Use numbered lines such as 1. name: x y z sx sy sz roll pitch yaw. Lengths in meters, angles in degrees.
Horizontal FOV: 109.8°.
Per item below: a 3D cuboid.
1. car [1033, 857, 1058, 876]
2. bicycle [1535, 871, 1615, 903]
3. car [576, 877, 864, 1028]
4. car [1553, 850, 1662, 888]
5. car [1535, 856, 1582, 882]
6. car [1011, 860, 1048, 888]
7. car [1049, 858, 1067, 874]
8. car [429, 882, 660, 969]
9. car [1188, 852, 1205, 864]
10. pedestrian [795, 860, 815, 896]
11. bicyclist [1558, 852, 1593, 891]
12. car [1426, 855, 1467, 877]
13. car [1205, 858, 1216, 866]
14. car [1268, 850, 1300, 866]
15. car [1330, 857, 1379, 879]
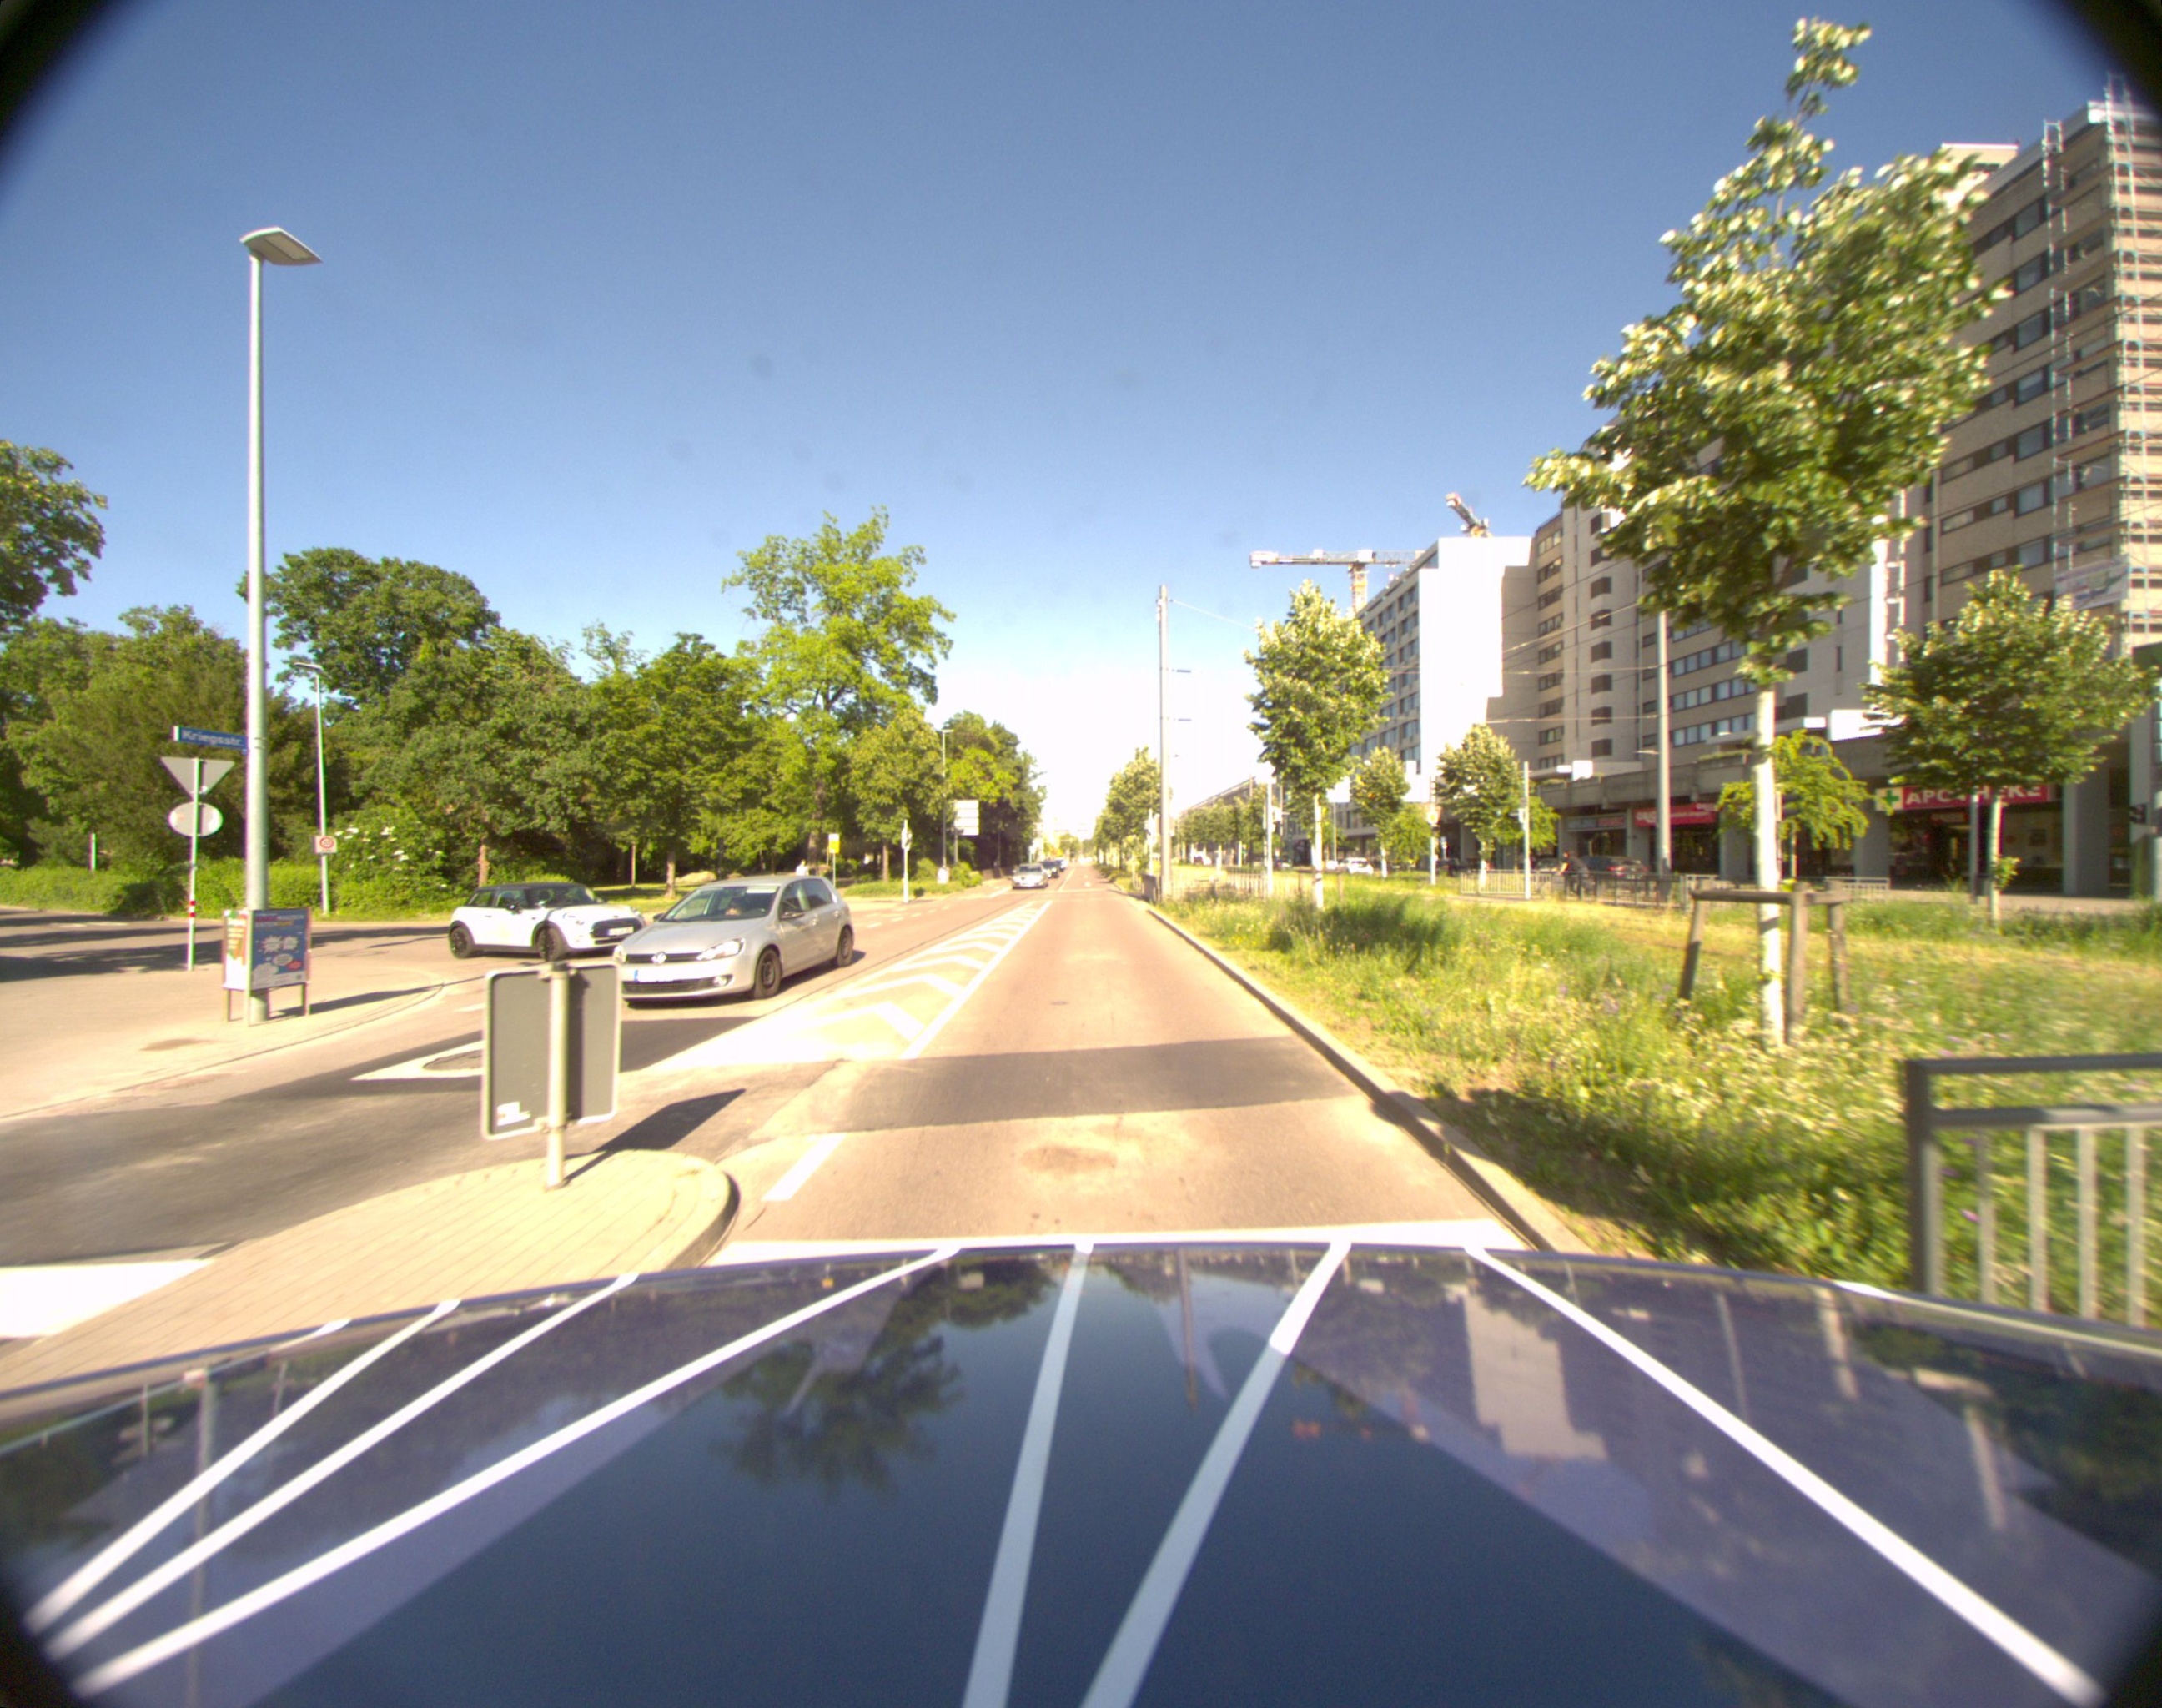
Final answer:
1. car: -2.925 1.041 63.352 1.999 1.493 3.999 0 0 -3
2. bicycle: 15.514 1.026 23.907 0.563 0.946 2.011 -2 1 -43
3. car: -4.486 1.133 10.211 1.702 1.465 4.001 -2 0 4
4. car: 23.696 0.634 34.410 1.999 1.569 4.105 2 0 -2
5. car: 30.559 0.918 48.566 1.712 1.511 4.008 -1 0 44
6. car: -2.921 1.125 43.557 1.839 1.415 3.999 -2 0 -1
7. car: -2.667 1.389 90.420 1.998 1.718 4.000 -2 0 0
8. car: -10.248 1.314 14.560 3.703 1.428 1.775 -2 0 20
9. car: 17.720 0.573 117.049 1.998 1.808 4.285 -2 0 1
10. pedestrian: -13.466 1.152 37.014 0.739 1.692 0.873 -2 1 -29
11. bicyclist: 15.539 0.545 23.877 0.581 1.218 0.766 -2 1 -42
12. car: 29.301 0.948 60.879 1.791 1.674 4.008 -1 0 44
13. car: 28.753 1.787 169.197 1.827 1.499 3.813 -2 0 0
14. car: 21.570 0.424 80.831 1.999 1.569 4.506 -2 0 -2
15. car: 20.739 1.045 57.805 1.999 1.569 4.506 -2 0 -2
